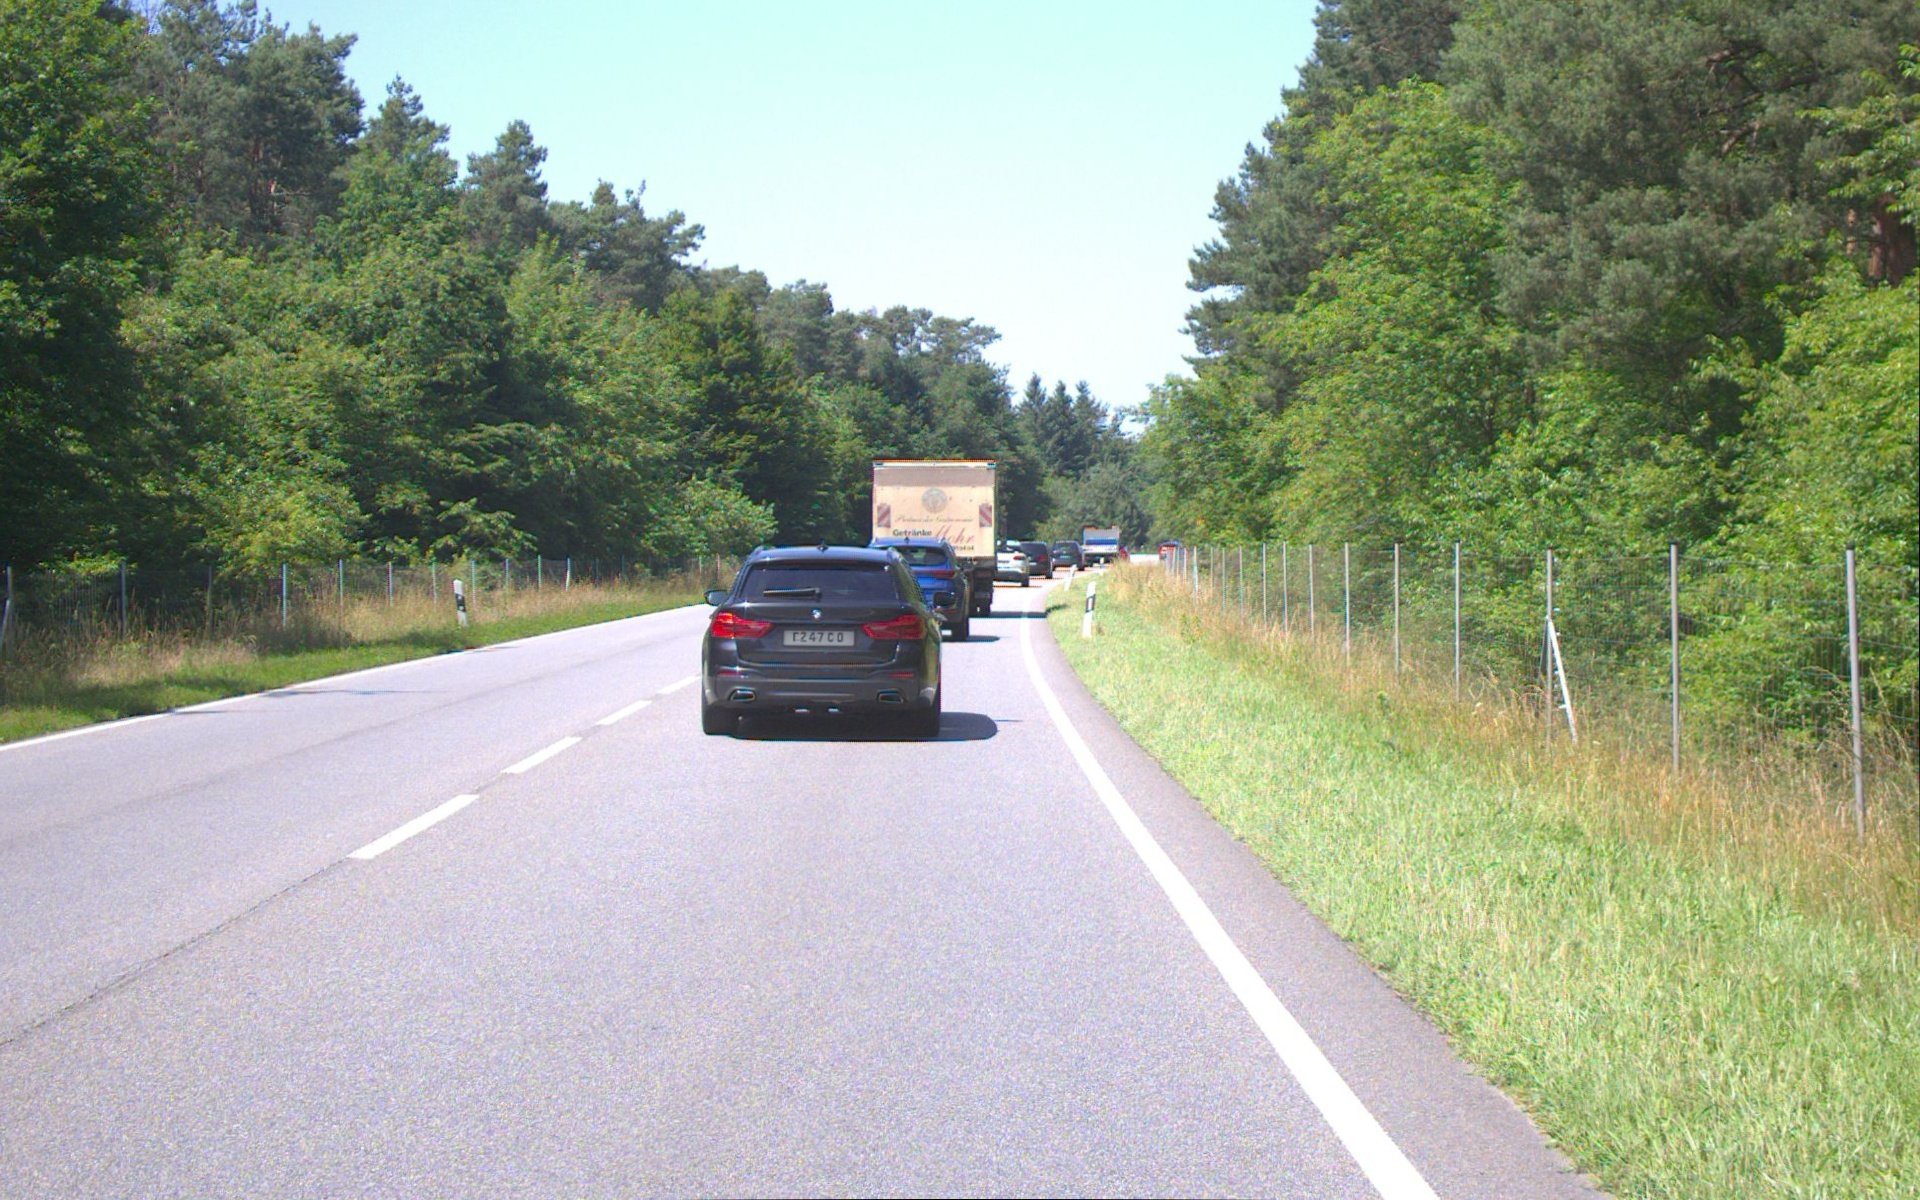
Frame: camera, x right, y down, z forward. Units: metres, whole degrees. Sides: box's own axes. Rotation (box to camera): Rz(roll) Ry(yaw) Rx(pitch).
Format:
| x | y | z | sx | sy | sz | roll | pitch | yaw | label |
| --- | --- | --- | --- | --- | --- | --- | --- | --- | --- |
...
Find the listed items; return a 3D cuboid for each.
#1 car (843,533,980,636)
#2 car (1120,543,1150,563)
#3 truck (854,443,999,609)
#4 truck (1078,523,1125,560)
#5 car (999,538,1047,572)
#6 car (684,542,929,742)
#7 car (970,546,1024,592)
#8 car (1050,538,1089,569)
| x | y | z | sx | sy | sz | roll | pitch | yaw | label |
| --- | --- | --- | --- | --- | --- | --- | --- | --- | --- |
| -0.728 | -0.268 | 54.507 | 1.947 | 1.536 | 4.000 | -1 | 1 | 2 | car |
| 12.289 | -3.302 | 240.950 | 1.795 | 1.349 | 3.928 | 0 | 1 | 7 | car |
| -0.774 | -1.582 | 73.483 | 2.965 | 3.376 | 6.439 | 0 | 1 | -2 | truck |
| 8.659 | -3.588 | 210.255 | 2.564 | 2.194 | 4.973 | -1 | 1 | 6 | truck |
| 2.735 | -1.958 | 149.570 | 1.993 | 1.415 | 4.000 | 1 | 1 | 0 | car |
| -1.216 | 0.282 | 27.682 | 1.820 | 1.465 | 4.001 | 0 | 1 | -2 | car |
| 1.292 | -1.123 | 122.545 | 1.863 | 1.600 | 4.000 | 0 | 1 | 0 | car |
| 5.950 | -2.507 | 186.065 | 1.994 | 1.631 | 4.000 | -1 | 1 | 3 | car |
